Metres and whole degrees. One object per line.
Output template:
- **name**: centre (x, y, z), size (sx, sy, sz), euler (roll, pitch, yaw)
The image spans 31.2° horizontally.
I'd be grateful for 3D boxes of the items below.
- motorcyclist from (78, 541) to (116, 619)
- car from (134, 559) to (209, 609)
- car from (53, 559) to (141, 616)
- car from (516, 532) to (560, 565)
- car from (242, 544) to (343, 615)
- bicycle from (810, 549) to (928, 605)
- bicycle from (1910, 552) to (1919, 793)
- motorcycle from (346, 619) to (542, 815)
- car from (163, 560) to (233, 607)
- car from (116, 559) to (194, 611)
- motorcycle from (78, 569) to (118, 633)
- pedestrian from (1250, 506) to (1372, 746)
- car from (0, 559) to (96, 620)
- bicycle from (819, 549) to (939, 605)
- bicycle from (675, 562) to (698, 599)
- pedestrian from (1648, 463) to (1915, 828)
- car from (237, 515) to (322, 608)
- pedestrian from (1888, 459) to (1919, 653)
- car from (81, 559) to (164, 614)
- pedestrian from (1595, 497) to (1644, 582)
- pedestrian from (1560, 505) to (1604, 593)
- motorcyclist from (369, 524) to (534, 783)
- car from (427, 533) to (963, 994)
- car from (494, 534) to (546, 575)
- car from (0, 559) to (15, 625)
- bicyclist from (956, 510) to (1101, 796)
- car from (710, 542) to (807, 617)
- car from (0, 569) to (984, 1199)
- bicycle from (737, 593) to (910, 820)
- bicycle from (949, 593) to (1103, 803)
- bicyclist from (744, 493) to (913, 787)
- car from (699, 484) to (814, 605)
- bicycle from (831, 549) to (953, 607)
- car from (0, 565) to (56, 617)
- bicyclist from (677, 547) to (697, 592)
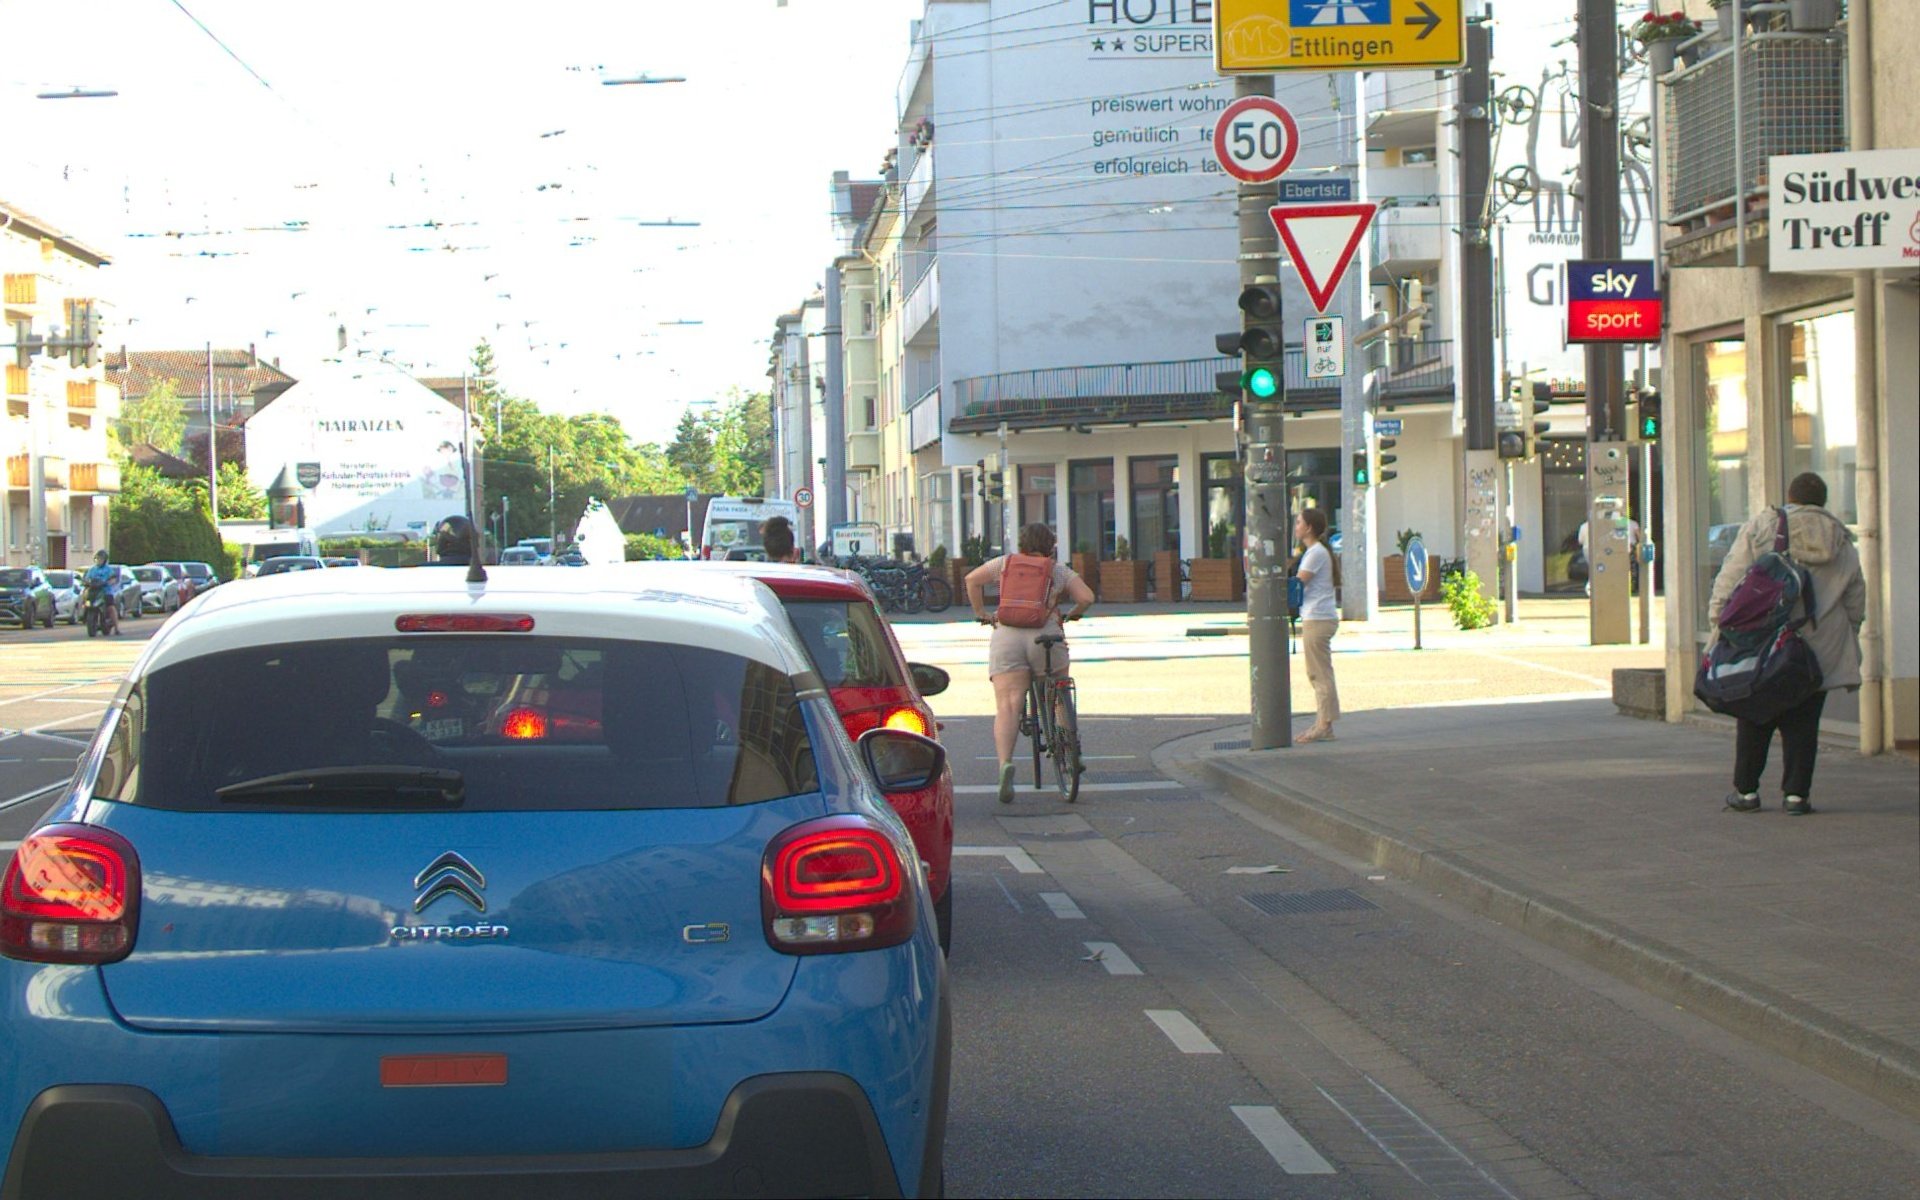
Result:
- **motorcyclist**: centre (-16.843, -0.390, 67.131), size (0.693, 1.491, 0.684), euler (-1, -1, -14)
- **car**: centre (-25.827, -0.529, 112.706), size (1.869, 1.571, 4.001), euler (1, 1, -6)
- **car**: centre (-24.607, -0.365, 98.132), size (1.869, 1.571, 4.001), euler (1, 1, -6)
- **car**: centre (-23.033, -2.784, 187.830), size (2.074, 1.756, 5.037), euler (1, 1, -4)
- **car**: centre (-14.806, -0.462, 76.400), size (1.778, 1.481, 3.829), euler (-2, 1, -5)
- **bicycle**: centre (-1.815, -0.459, 68.283), size (2.251, 0.998, 0.856), euler (-3, 1, -5)
- **bicycle**: centre (4.900, 0.353, 15.744), size (0.496, 1.157, 1.777), euler (-1, 0, -3)
- **motorcycle**: centre (-2.979, 0.653, 20.034), size (0.855, 1.043, 1.942), euler (1, 1, -1)
- **car**: centre (-26.333, -0.599, 118.917), size (1.869, 1.571, 4.001), euler (1, 1, -6)
- **car**: centre (-25.250, -0.474, 107.973), size (1.869, 1.571, 4.001), euler (1, 1, -6)
- **motorcycle**: centre (-16.791, 0.029, 66.980), size (0.711, 1.216, 1.966), euler (-1, -1, -14)
- **pedestrian**: centre (2.472, 0.179, 24.160), size (0.540, 1.618, 0.732), euler (-5, -1, 21)
- **car**: centre (-24.394, -0.302, 92.072), size (1.869, 1.571, 4.001), euler (1, 1, -6)
- **bicycle**: centre (-1.595, -0.453, 67.173), size (2.251, 0.998, 0.856), euler (-3, 1, -5)
- **bicycle**: centre (-12.219, -0.881, 153.744), size (0.791, 1.664, 2.230), euler (1, 1, 1)
- **pedestrian**: centre (3.776, 0.190, 15.851), size (0.884, 1.586, 0.811), euler (-4, 2, -8)
- **car**: centre (-23.563, -1.323, 119.139), size (2.417, 3.131, 3.489), euler (1, 0, -3)
- **pedestrian**: centre (5.701, -0.257, 19.322), size (0.623, 1.084, 0.679), euler (-3, 2, -37)
- **car**: centre (-24.987, -0.417, 102.684), size (1.869, 1.571, 4.001), euler (1, 1, -6)
- **pedestrian**: centre (12.510, -1.146, 65.207), size (0.611, 1.603, 0.667), euler (1, 1, 44)
- **pedestrian**: centre (11.361, -0.932, 62.811), size (0.610, 1.603, 0.668), euler (1, 0, 27)
- **motorcyclist**: centre (-2.979, 0.303, 20.202), size (0.855, 1.483, 0.729), euler (1, 0, -1)
- **car**: centre (-1.062, 0.522, 13.486), size (1.784, 1.516, 3.763), euler (1, 1, -5)
- **car**: centre (-21.740, -2.246, 169.964), size (2.218, 1.925, 4.950), euler (1, 1, -4)
- **car**: centre (-23.193, -0.194, 79.544), size (1.741, 1.521, 4.230), euler (1, 1, -4)
- **bicyclist**: centre (0.424, 0.311, 20.908), size (0.811, 1.686, 0.935), euler (1, 0, 4)
- **car**: centre (-4.003, -0.412, 67.838), size (1.657, 1.426, 3.889), euler (1, 1, -7)
- **car**: centre (-0.937, 0.670, 7.212), size (1.736, 1.447, 3.663), euler (0, 1, -3)
- **bicycle**: centre (-0.783, 0.585, 20.016), size (0.940, 1.219, 2.095), euler (1, 1, -2)
- **bicycle**: centre (0.424, 0.562, 20.830), size (0.811, 1.177, 2.064), euler (1, 1, 4)
- **bicyclist**: centre (-0.768, 0.224, 20.131), size (0.940, 1.667, 1.079), euler (1, 0, -2)
- **car**: centre (-4.346, -1.163, 72.817), size (2.265, 2.473, 5.009), euler (0, 1, -5)
- **bicycle**: centre (-1.304, -0.426, 65.806), size (2.251, 0.998, 0.856), euler (-3, 1, -5)
- **car**: centre (-24.036, -0.245, 86.137), size (1.946, 1.235, 4.283), euler (1, 1, -5)
- **bicyclist**: centre (-12.212, -1.371, 153.743), size (0.791, 2.018, 0.986), euler (1, 0, 1)
